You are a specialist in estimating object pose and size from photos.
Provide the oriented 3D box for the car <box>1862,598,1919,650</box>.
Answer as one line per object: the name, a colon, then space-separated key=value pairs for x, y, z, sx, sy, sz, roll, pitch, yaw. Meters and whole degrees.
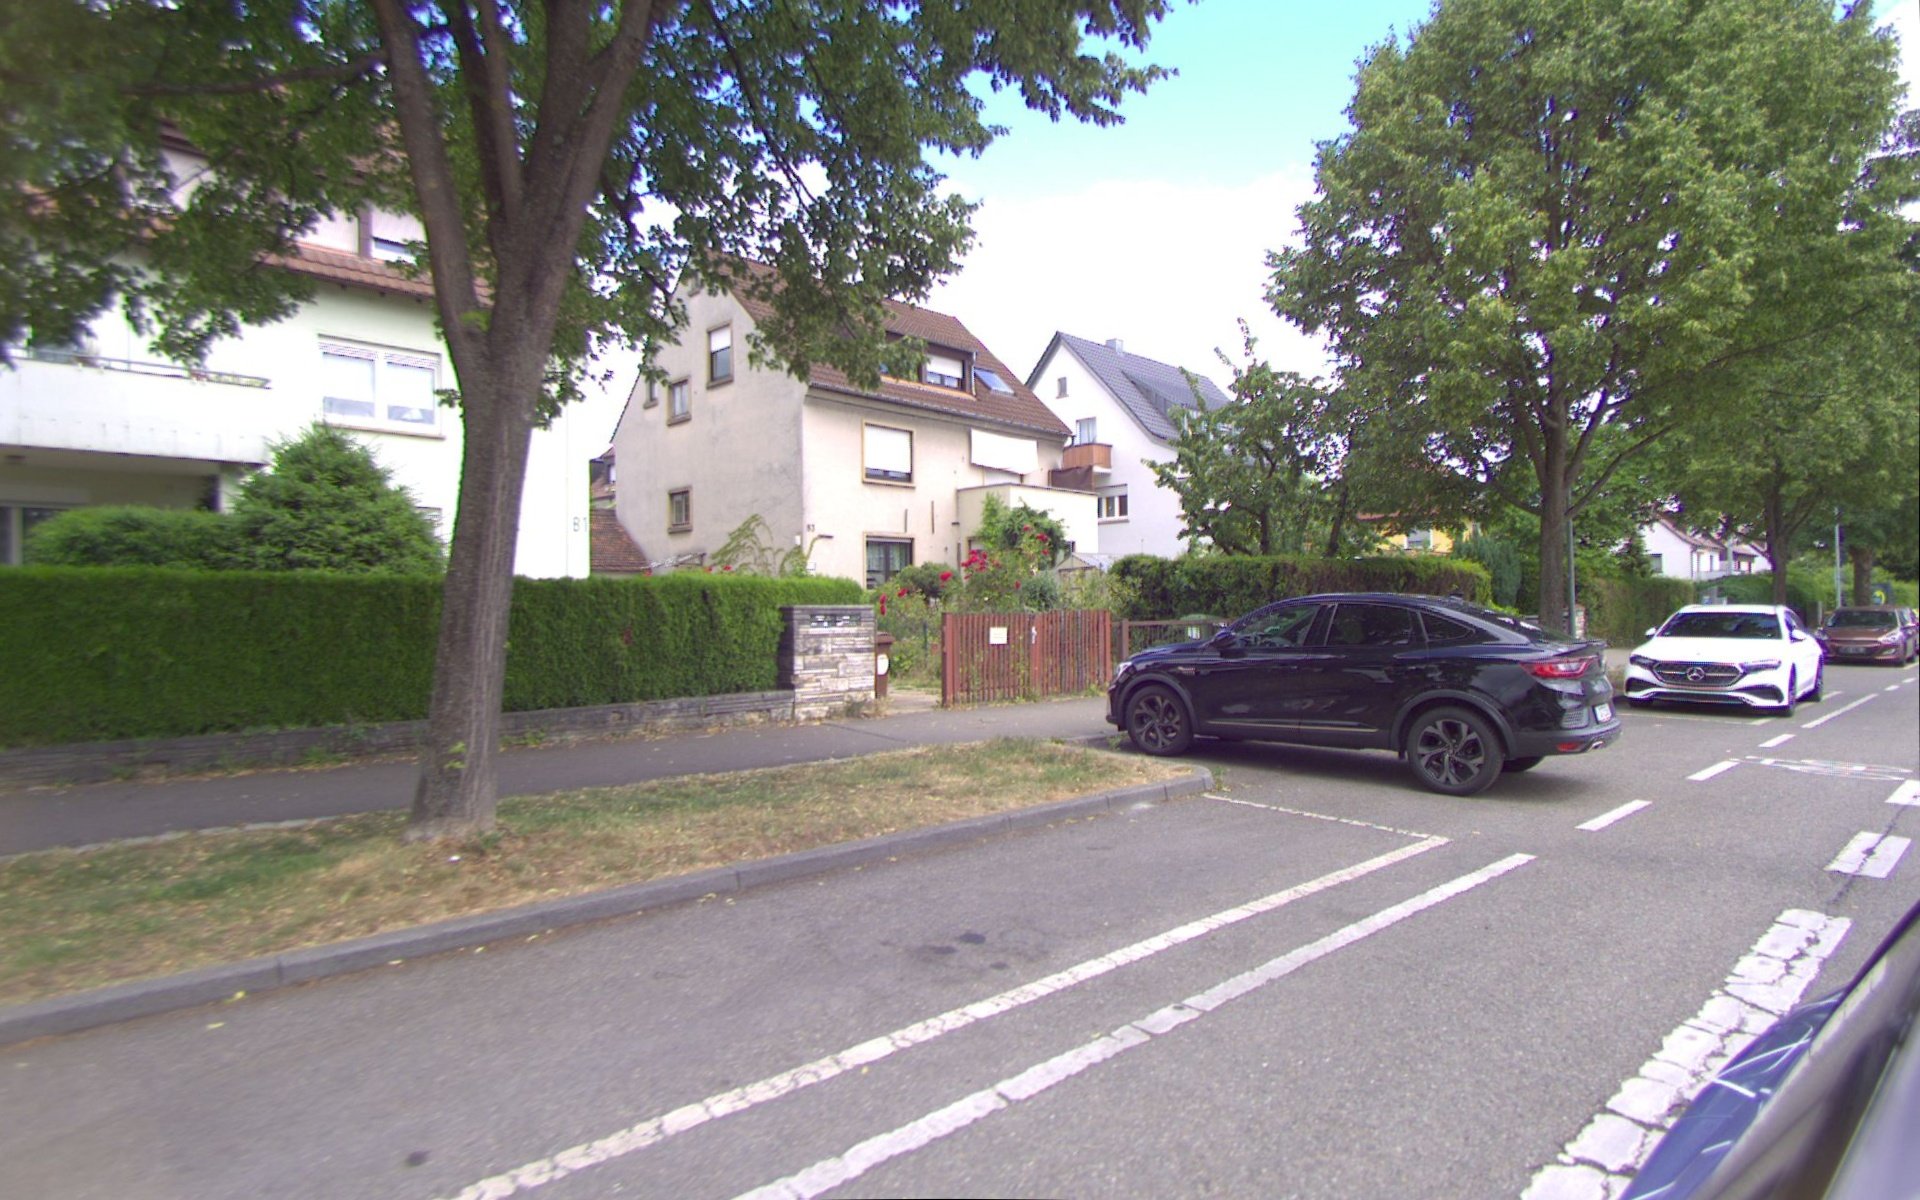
car: x=28.649 y=0.685 z=30.673 sx=3.606 sy=1.474 sz=1.567 roll=0 pitch=0 yaw=-42

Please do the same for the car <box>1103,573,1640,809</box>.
car: x=3.516 y=0.608 z=9.186 sx=4.216 sy=1.658 sz=1.667 roll=1 pitch=0 yaw=43

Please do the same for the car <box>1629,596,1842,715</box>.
car: x=11.676 y=0.699 z=15.104 sx=4.732 sy=1.493 sz=1.807 roll=0 pitch=0 yaw=-44

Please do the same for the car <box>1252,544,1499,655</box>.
car: x=10.769 y=0.004 z=26.634 sx=5.714 sy=2.625 sz=1.966 roll=0 pitch=-1 yaw=45

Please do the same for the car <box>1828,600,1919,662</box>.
car: x=23.574 y=0.739 z=25.866 sx=4.106 sy=1.434 sz=1.655 roll=0 pitch=1 yaw=-43
